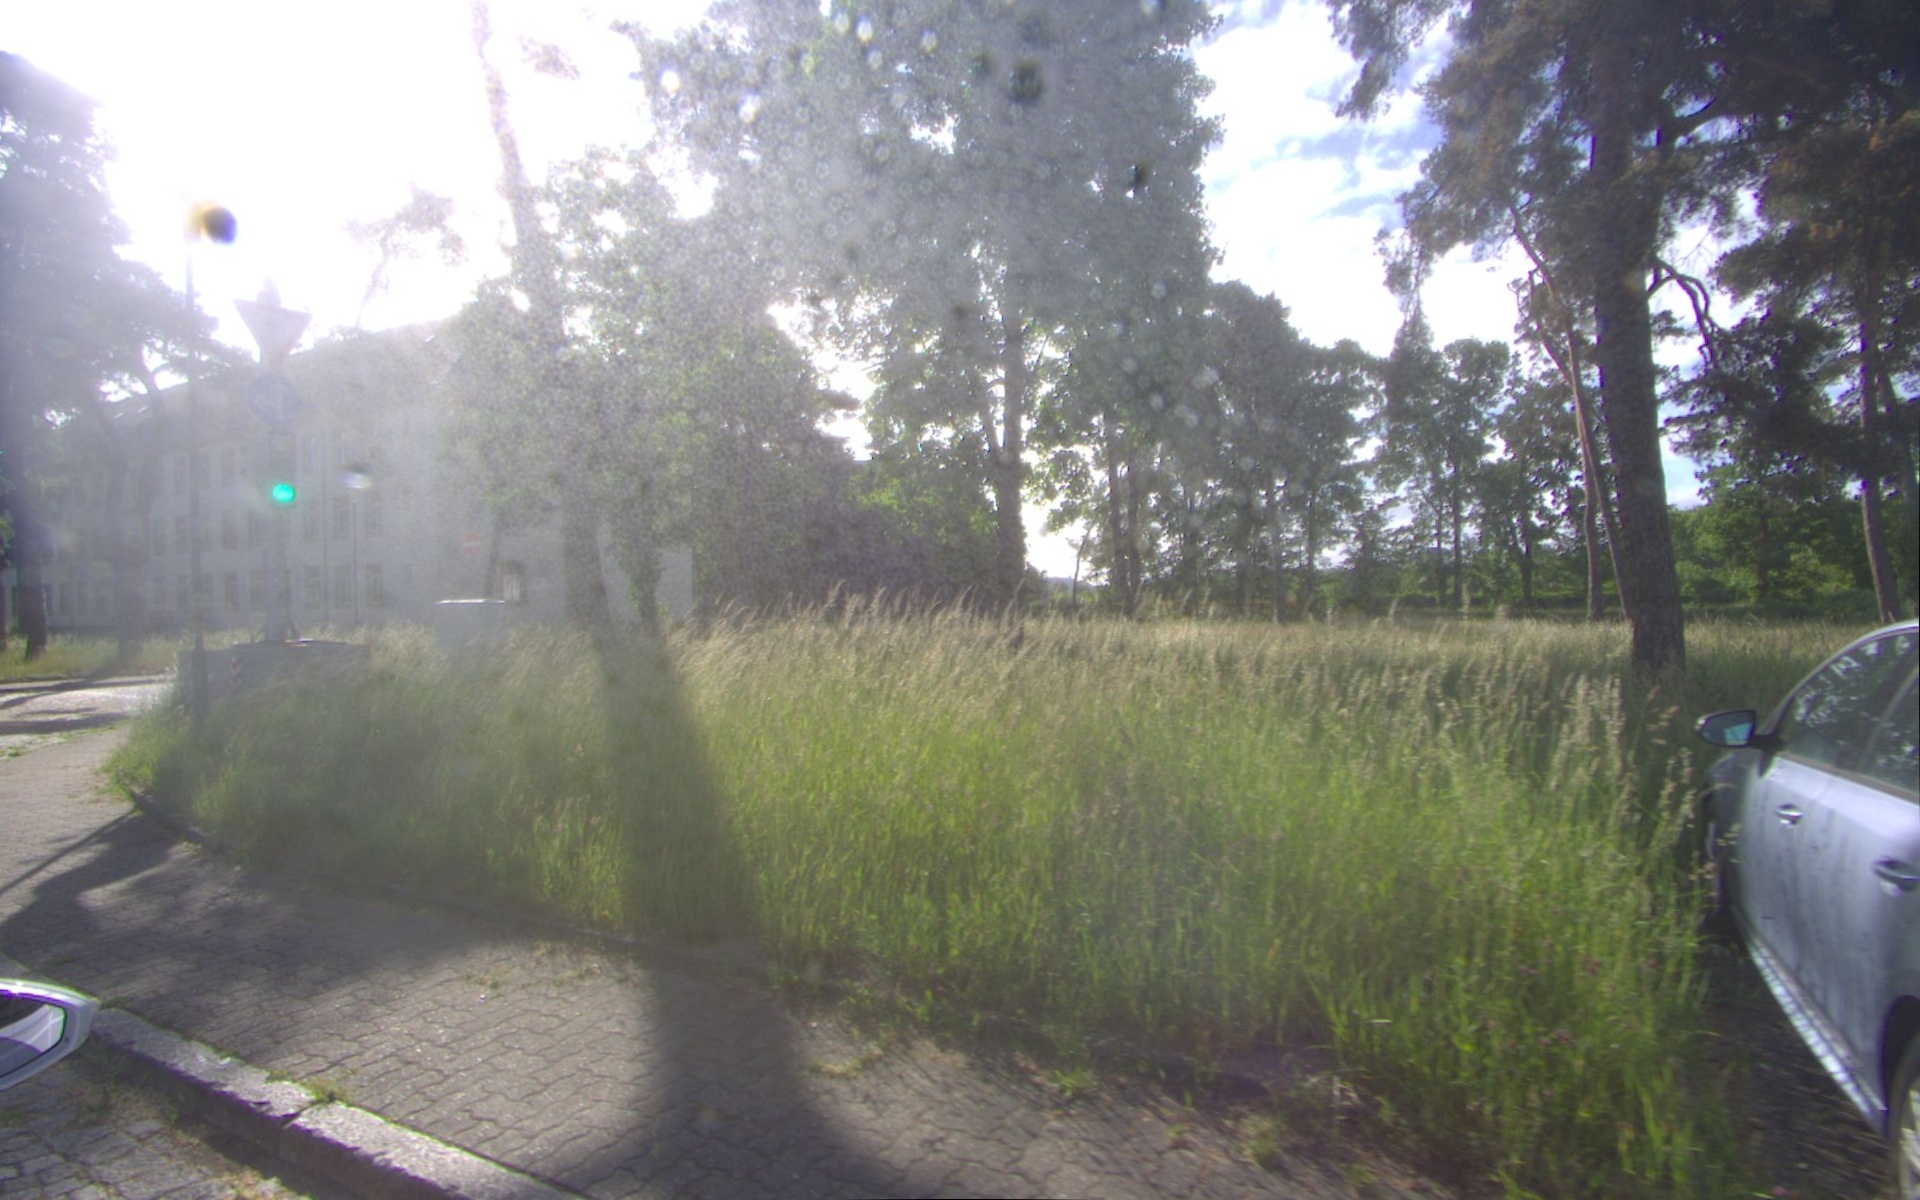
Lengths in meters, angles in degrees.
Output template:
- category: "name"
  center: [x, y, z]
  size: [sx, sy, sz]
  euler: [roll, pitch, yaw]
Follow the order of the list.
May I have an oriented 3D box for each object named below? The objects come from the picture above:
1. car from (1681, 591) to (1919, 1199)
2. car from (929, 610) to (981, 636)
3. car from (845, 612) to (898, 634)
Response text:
- category: "car"
  center: [3.293, 0.713, 2.648]
  size: [1.843, 1.480, 4.009]
  euler: [-1, 0, 30]
- category: "car"
  center: [-0.290, 1.476, 65.165]
  size: [1.826, 1.619, 3.985]
  euler: [-1, 0, 27]
- category: "car"
  center: [-6.127, 1.564, 69.802]
  size: [1.818, 1.483, 3.985]
  euler: [-1, -1, 27]
